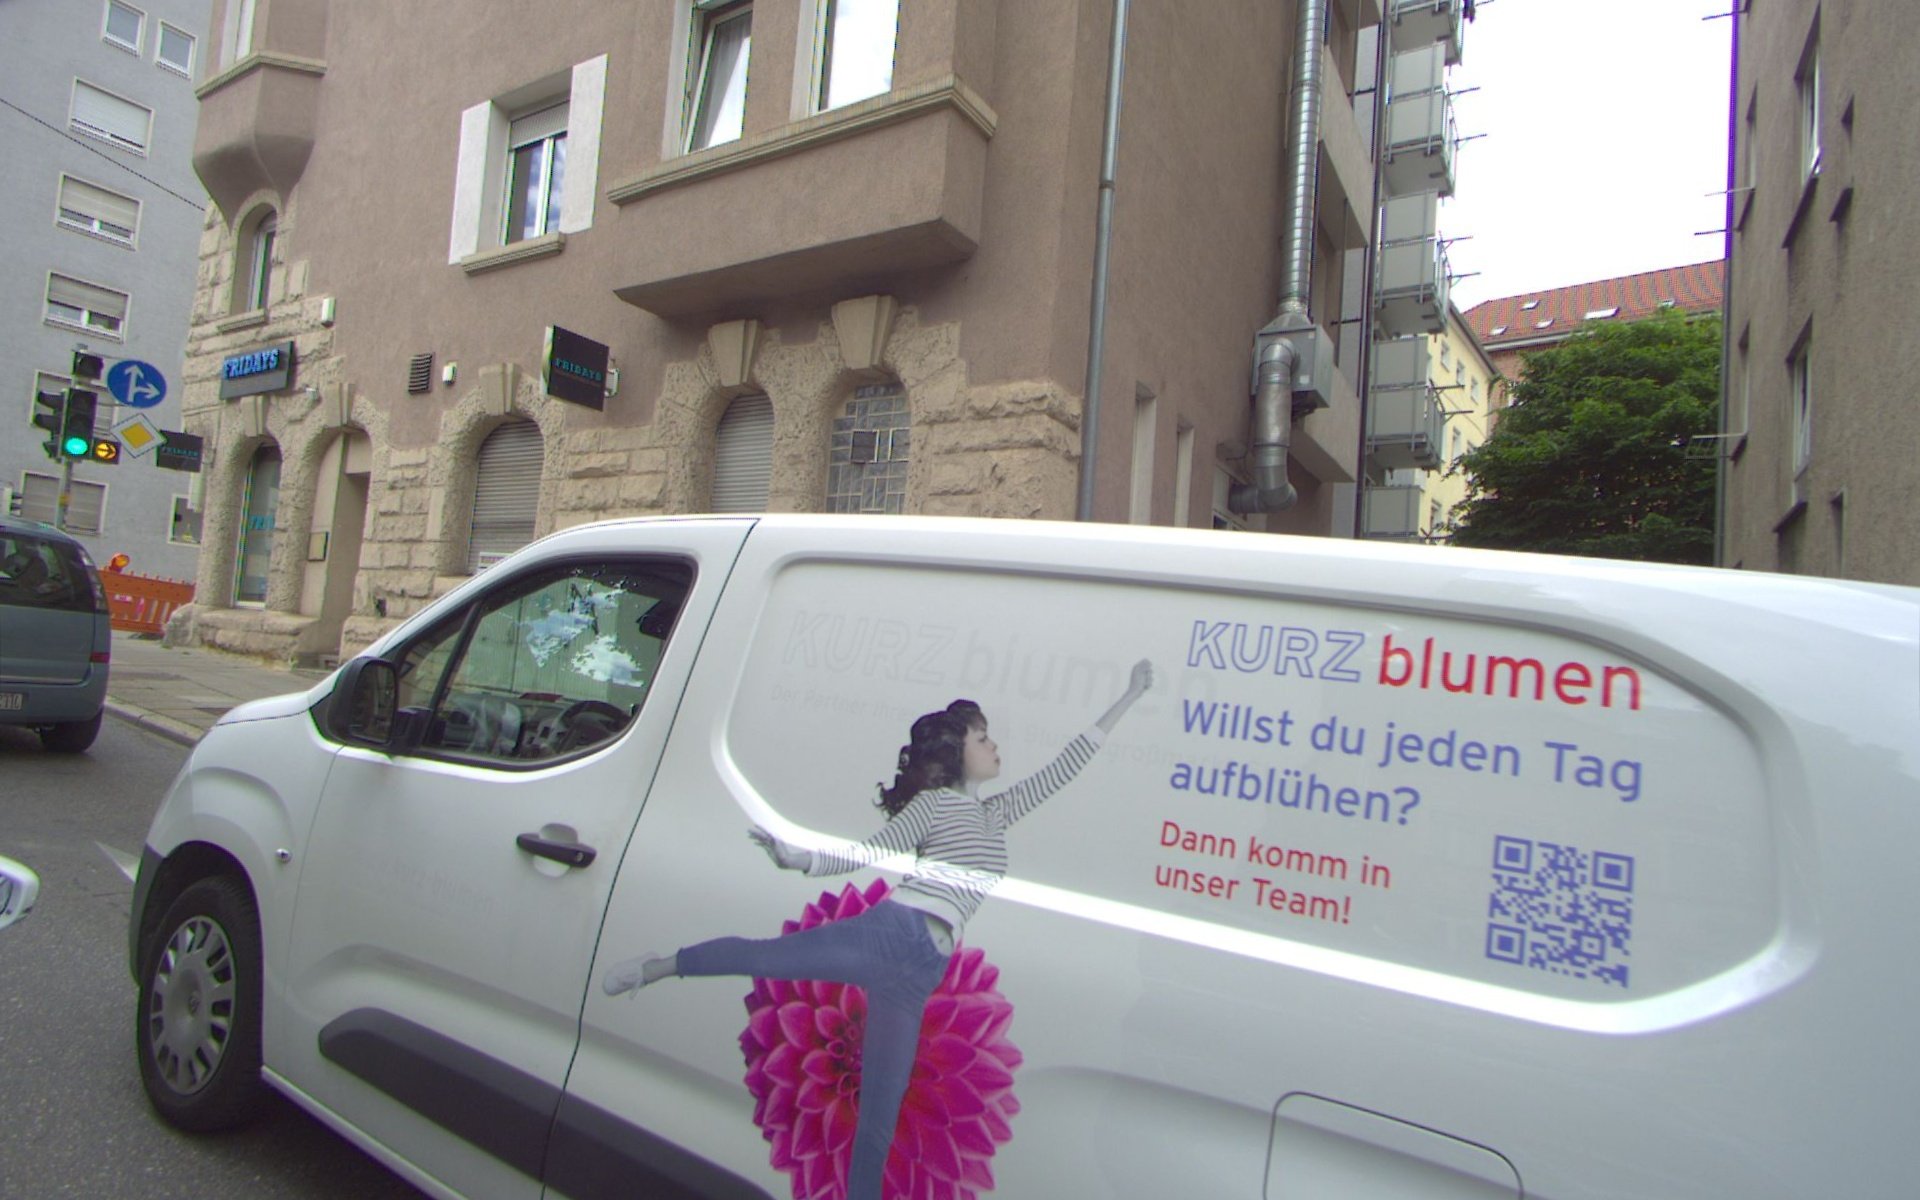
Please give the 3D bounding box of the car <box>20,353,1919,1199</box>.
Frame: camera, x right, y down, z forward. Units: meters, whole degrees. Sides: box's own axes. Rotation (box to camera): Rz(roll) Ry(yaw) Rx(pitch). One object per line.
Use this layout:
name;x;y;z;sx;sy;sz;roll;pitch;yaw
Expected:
car;-0.211;0.643;2.738;4.598;1.793;1.983;5;-6;30

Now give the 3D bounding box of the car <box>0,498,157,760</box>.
car;-7.595;0.028;7.153;3.608;1.614;1.634;5;-5;32

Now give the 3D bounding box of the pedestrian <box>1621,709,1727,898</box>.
pedestrian;6.849;1.905;9.694;0.772;1.665;0.809;-1;-4;32

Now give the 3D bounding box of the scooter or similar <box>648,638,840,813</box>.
scooter or similar;-1.683;0.930;7.761;1.400;1.117;0.527;5;-1;34
